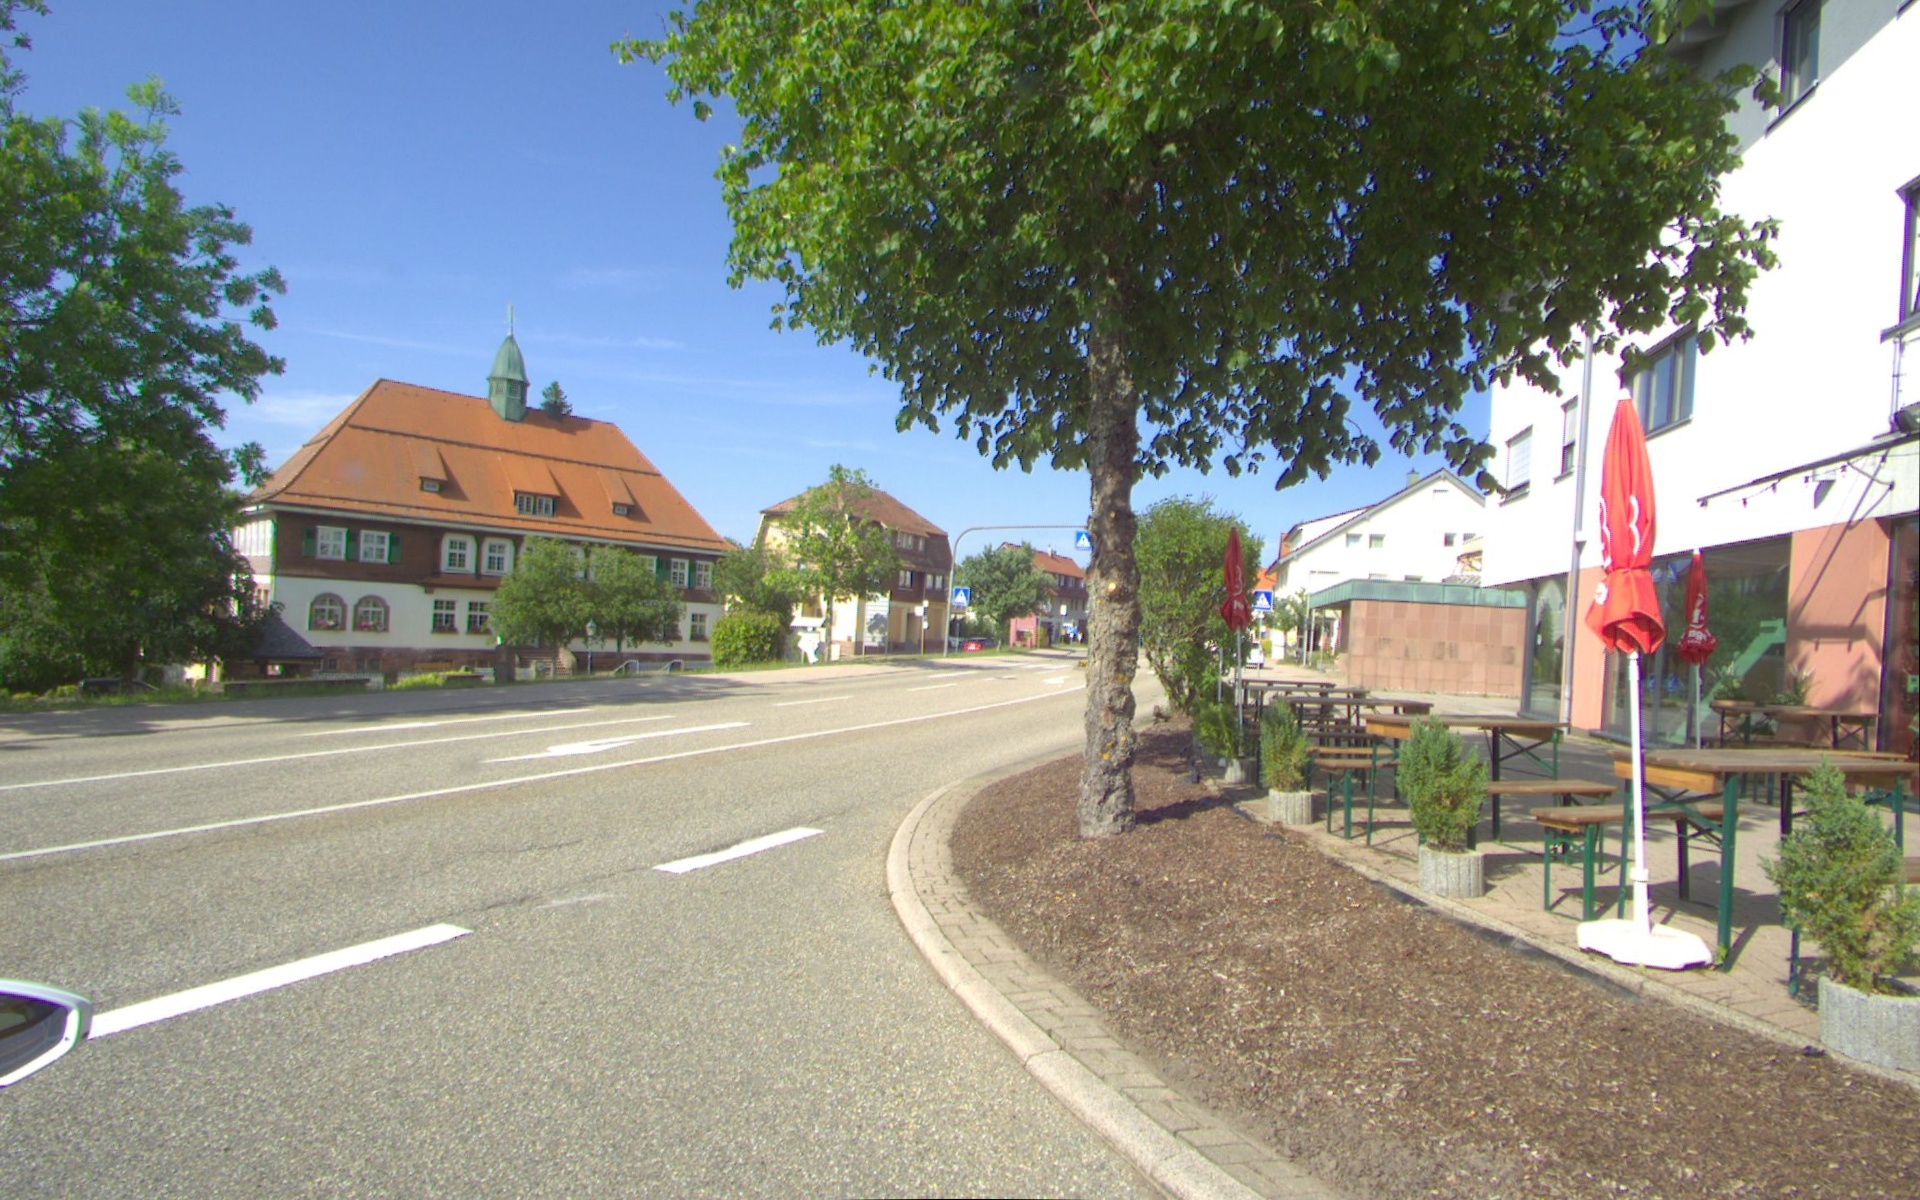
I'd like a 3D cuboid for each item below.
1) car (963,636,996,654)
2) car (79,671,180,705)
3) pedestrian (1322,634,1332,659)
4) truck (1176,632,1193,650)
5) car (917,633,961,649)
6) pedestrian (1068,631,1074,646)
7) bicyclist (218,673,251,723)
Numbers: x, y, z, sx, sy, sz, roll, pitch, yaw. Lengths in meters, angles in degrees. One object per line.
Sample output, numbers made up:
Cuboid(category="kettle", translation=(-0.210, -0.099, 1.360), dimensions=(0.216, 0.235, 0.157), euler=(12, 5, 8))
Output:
Cuboid(category="car", translation=(1.639, 3.708, 82.070), dimensions=(1.744, 1.451, 3.710), euler=(-1, -2, 17))
Cuboid(category="car", translation=(-41.637, 4.378, 50.229), dimensions=(1.696, 1.463, 3.751), euler=(-2, -2, 44))
Cuboid(category="pedestrian", translation=(23.818, 3.006, 65.028), dimensions=(0.557, 1.613, 0.484), euler=(0, -1, 16))
Cuboid(category="truck", translation=(32.099, 5.862, 143.252), dimensions=(1.963, 2.372, 6.488), euler=(2, -1, 16))
Cuboid(category="car", translation=(-1.919, 3.782, 92.829), dimensions=(3.648, 1.451, 1.774), euler=(-2, -2, 19))
Cuboid(category="pedestrian", translation=(12.838, 4.422, 115.492), dimensions=(0.489, 1.771, 0.587), euler=(-1, -1, 31))
Cuboid(category="bicyclist", translation=(-29.567, 3.984, 40.812), dimensions=(0.988, 1.949, 0.577), euler=(1, -2, -43))
